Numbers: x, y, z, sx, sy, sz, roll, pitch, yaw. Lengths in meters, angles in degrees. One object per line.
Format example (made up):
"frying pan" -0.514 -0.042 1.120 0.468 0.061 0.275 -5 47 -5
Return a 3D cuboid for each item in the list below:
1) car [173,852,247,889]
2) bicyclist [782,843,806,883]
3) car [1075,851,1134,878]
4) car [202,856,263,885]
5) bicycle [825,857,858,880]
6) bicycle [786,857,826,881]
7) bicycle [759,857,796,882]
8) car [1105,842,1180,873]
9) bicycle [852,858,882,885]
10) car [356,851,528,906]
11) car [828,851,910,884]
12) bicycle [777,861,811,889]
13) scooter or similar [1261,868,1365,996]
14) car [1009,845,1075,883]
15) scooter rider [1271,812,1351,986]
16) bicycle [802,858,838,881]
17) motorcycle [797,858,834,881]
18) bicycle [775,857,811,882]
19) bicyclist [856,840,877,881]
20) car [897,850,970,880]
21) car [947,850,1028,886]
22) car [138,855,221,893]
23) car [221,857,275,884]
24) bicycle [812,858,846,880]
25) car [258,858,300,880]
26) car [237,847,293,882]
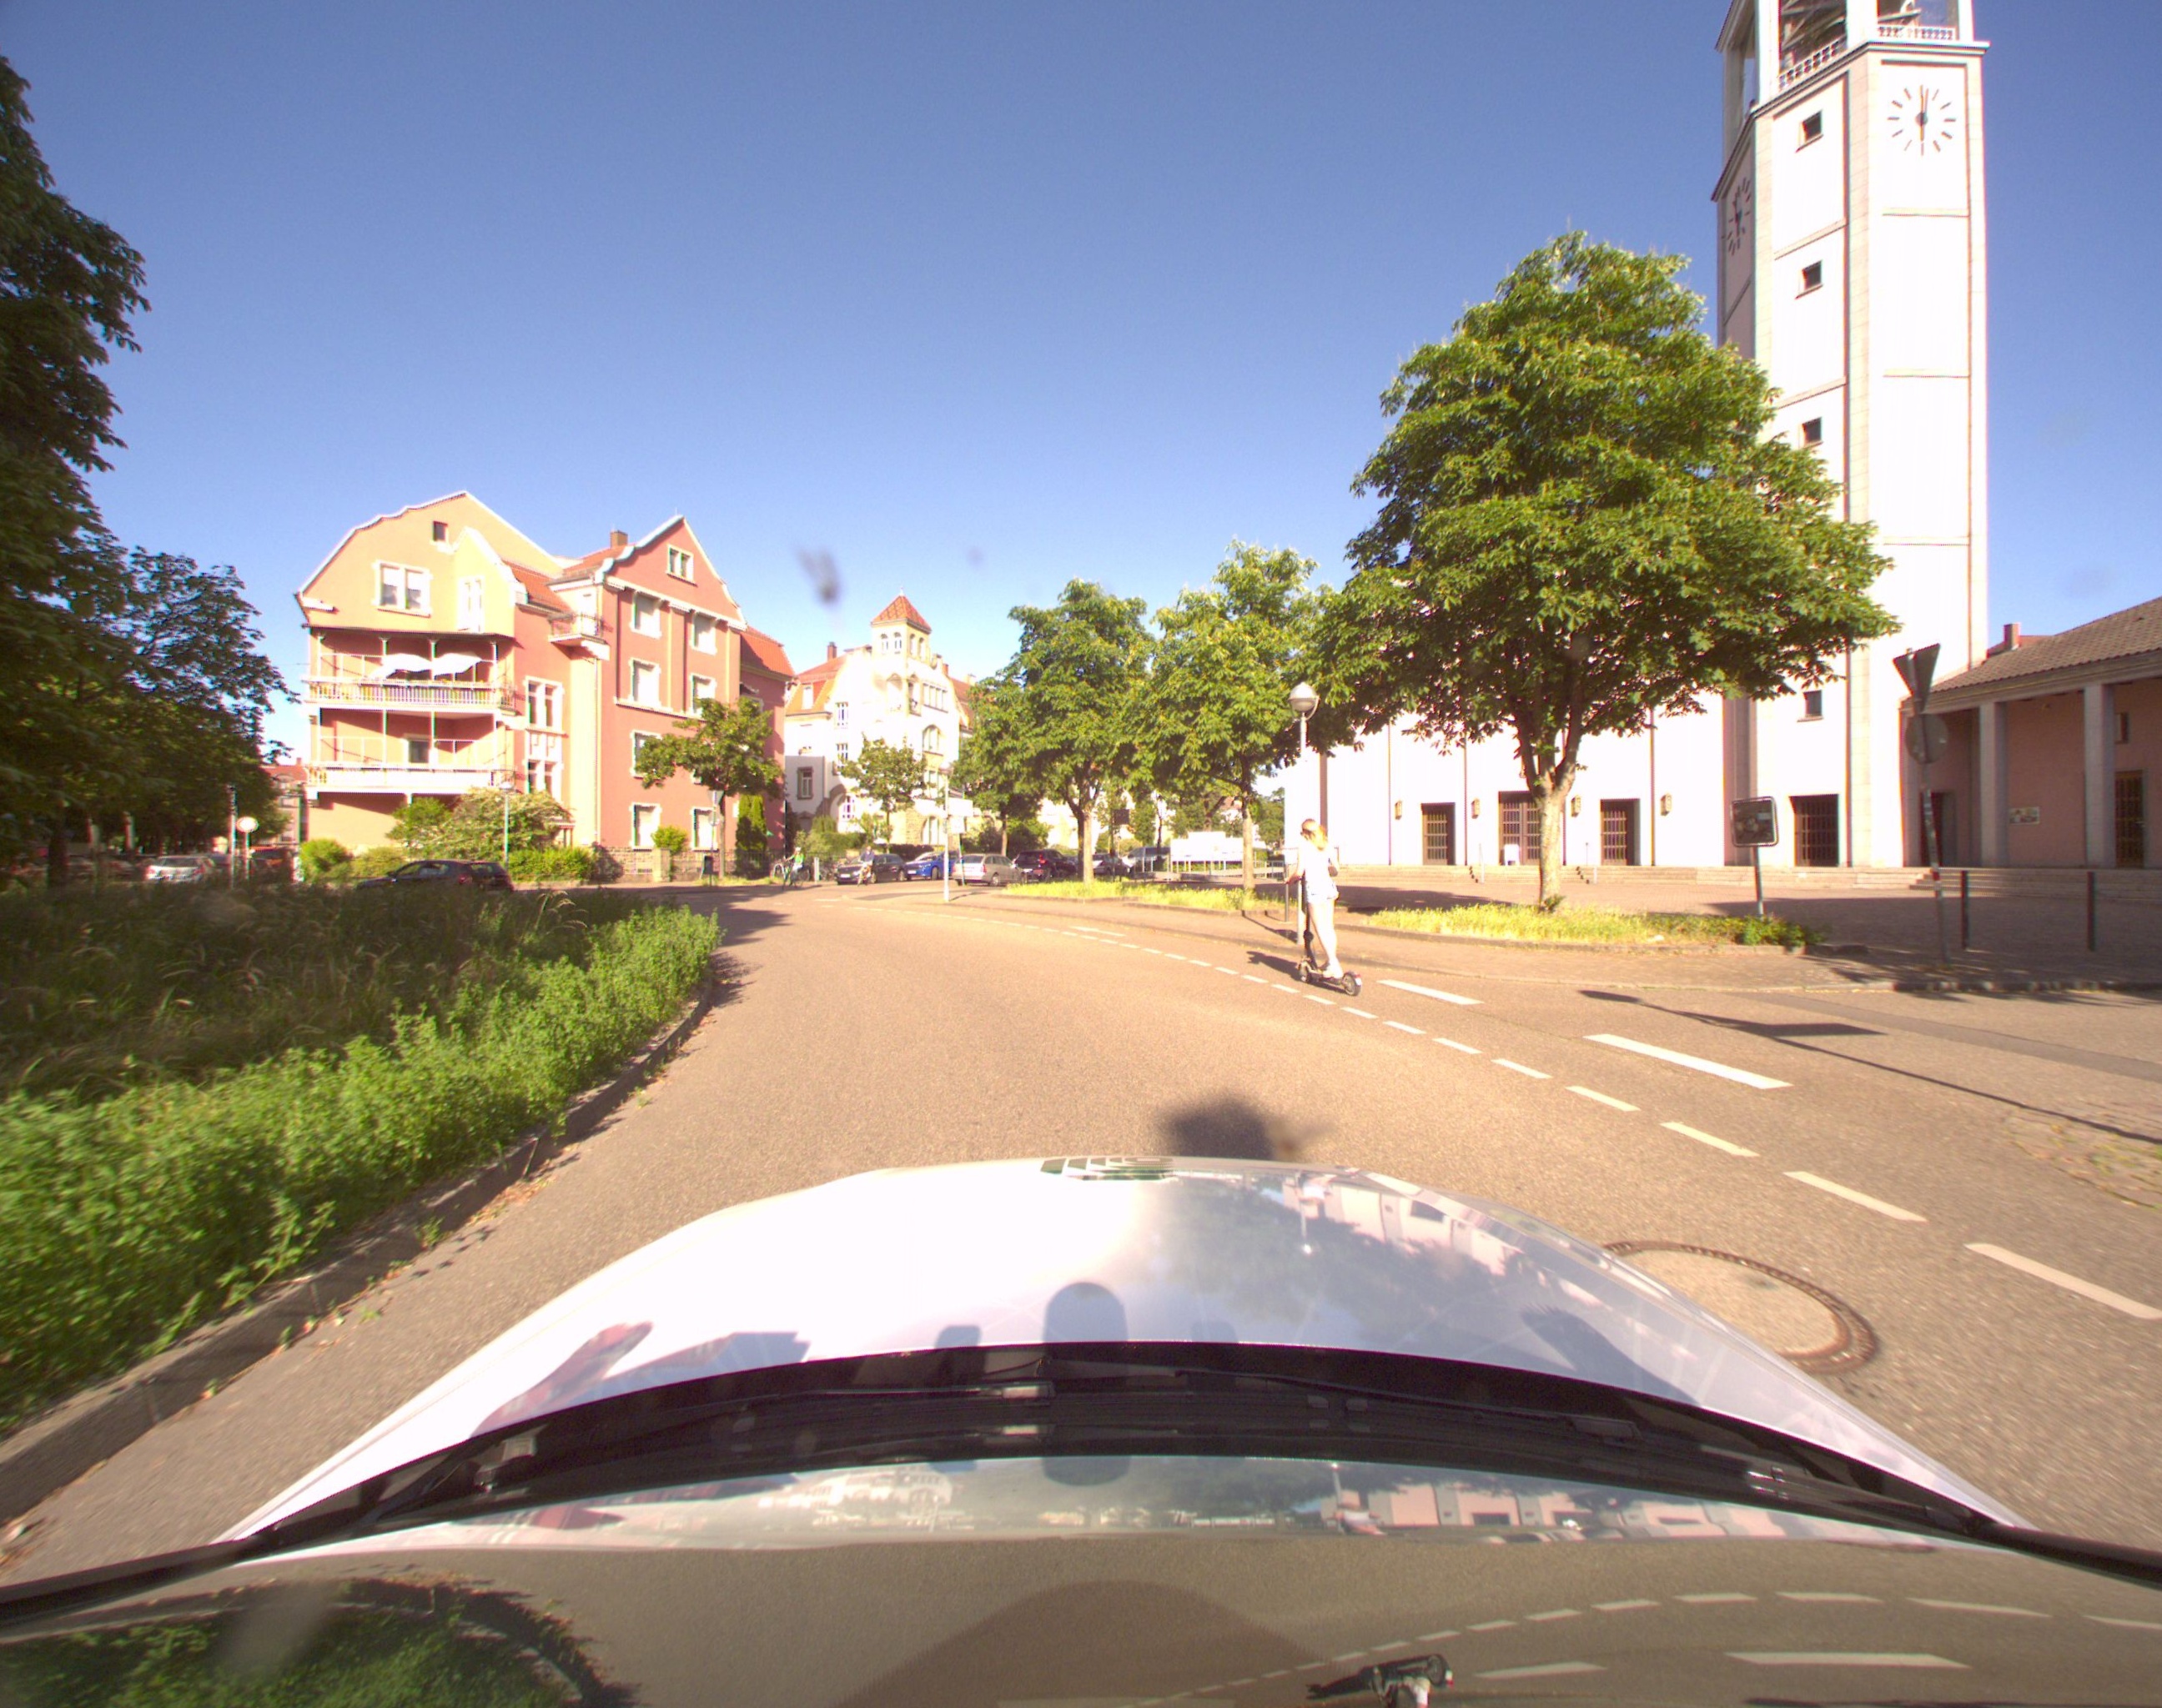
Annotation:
"car" -39.005 0.725 36.579 1.696 1.562 4.245 2 -1 -40
"bicyclist" -11.607 0.374 32.951 0.591 1.581 0.805 -1 0 4
"car" 1.415 0.605 47.313 1.787 1.474 4.364 1 0 26
"car" -42.209 0.811 40.577 1.696 1.382 3.243 2 -1 -40
"bicycle" -12.647 0.757 43.003 1.707 1.107 0.518 2 1 19
"bicycle" -13.608 0.746 40.304 1.814 1.107 0.502 1 0 6
"bicycle" -14.421 0.730 38.696 1.706 1.115 0.549 2 1 22
"car" 4.150 0.220 54.821 4.726 2.001 1.818 1 0 18
"bicycle" -9.190 0.750 35.011 0.640 1.107 1.720 -1 -1 7
"car" -17.843 0.658 22.776 3.955 1.419 1.880 -1 0 18
"car" -10.322 0.635 40.008 1.789 1.483 4.358 -3 -1 17
"bicycle" -11.597 0.837 32.942 0.591 1.107 1.865 -1 0 4
"scooter or similar" 2.527 0.811 8.964 0.631 1.283 1.101 0 0 -14
"car" -1.849 0.473 39.920 1.789 1.728 4.359 1 0 18
"scooter rider" 2.522 0.469 8.963 0.624 1.832 0.628 0 0 -15
"bicycle" -13.309 0.772 41.496 1.708 1.107 0.503 2 1 15
"motorcycle" -13.343 0.774 40.943 1.708 1.107 0.503 2 1 15
"bicycle" -14.016 0.748 39.583 1.706 1.115 0.549 2 1 22
"bicyclist" -9.200 0.285 35.003 0.640 1.714 0.724 -1 -1 7
"car" -8.097 0.577 45.102 1.788 1.561 4.423 -3 -1 22
"car" -3.959 0.570 35.314 1.789 1.416 4.359 1 0 18
"car" -35.996 0.778 32.595 1.696 1.447 3.505 2 -1 -40
"car" -45.367 0.899 44.423 1.696 1.382 3.243 2 -1 -40
"bicycle" -13.036 0.770 42.099 1.707 1.107 0.503 2 1 19
"car" -54.267 1.008 55.169 1.696 1.382 3.456 2 -1 -40
"car" -49.983 0.623 49.957 1.952 2.044 4.225 2 -1 -40
